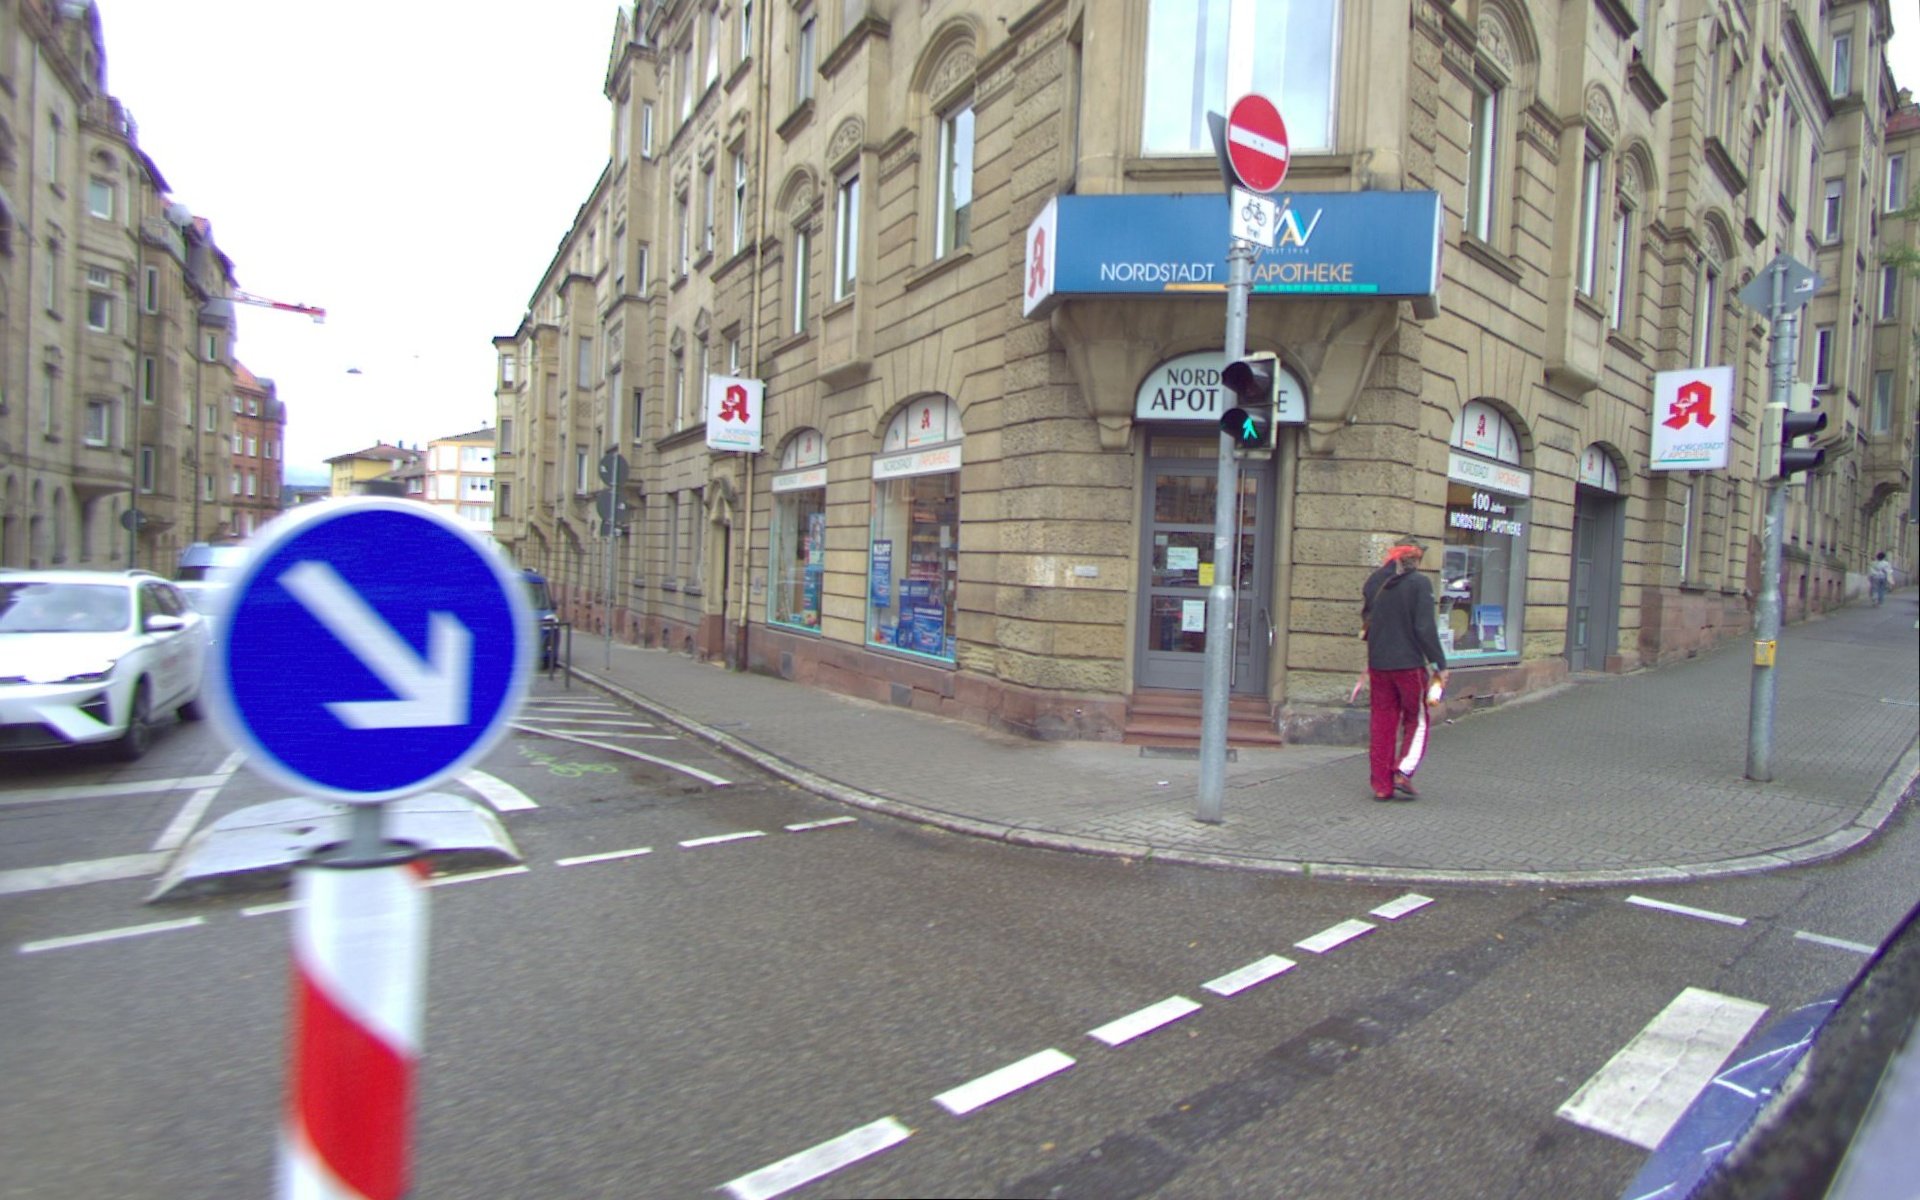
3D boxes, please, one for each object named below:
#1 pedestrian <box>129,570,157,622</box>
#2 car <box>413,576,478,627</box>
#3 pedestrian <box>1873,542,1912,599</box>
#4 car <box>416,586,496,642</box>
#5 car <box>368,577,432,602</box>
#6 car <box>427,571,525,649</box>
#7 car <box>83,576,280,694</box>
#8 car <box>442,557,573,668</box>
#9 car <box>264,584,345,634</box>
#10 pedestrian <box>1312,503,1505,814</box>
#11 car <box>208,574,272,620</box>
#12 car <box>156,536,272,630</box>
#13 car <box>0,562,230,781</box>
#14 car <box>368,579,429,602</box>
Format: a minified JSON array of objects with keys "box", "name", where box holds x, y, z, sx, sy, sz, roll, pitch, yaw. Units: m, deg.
[{"box":[-26.436,-0.146,32.737,0.649,1.665,0.567,-1,1,-35],"name":"pedestrian"},{"box":[-17.253,0.022,33.856,1.639,1.589,3.934,1,0,-31],"name":"car"},{"box":[26.288,-0.840,28.535,0.680,1.513,0.644,-6,9,-42],"name":"pedestrian"},{"box":[-14.305,0.358,28.630,1.677,1.460,3.934,1,0,-31],"name":"car"},{"box":[-39.409,-0.761,71.303,3.918,1.741,1.823,0,1,-28],"name":"car"},{"box":[-11.736,0.210,24.414,1.713,1.717,3.934,1,0,-31],"name":"car"},{"box":[-11.067,0.390,14.665,1.692,1.444,4.085,-1,1,-30],"name":"car"},{"box":[-8.936,0.190,19.796,1.805,1.924,4.182,1,0,-31],"name":"car"},{"box":[-18.684,0.201,28.977,1.729,1.320,3.735,-1,1,-30],"name":"car"},{"box":[3.093,0.354,6.982,1.070,1.973,0.700,0,2,-34],"name":"pedestrian"},{"box":[-26.719,-0.132,37.651,1.639,1.589,3.934,1,0,-31],"name":"car"},{"box":[-22.439,-0.517,30.670,2.082,2.566,5.481,-1,1,-28],"name":"car"},{"box":[-8.014,0.464,8.986,1.804,1.529,4.581,0,1,-27],"name":"car"},{"box":[-42.452,-0.724,76.553,3.713,1.708,1.715,0,1,-3],"name":"car"}]
